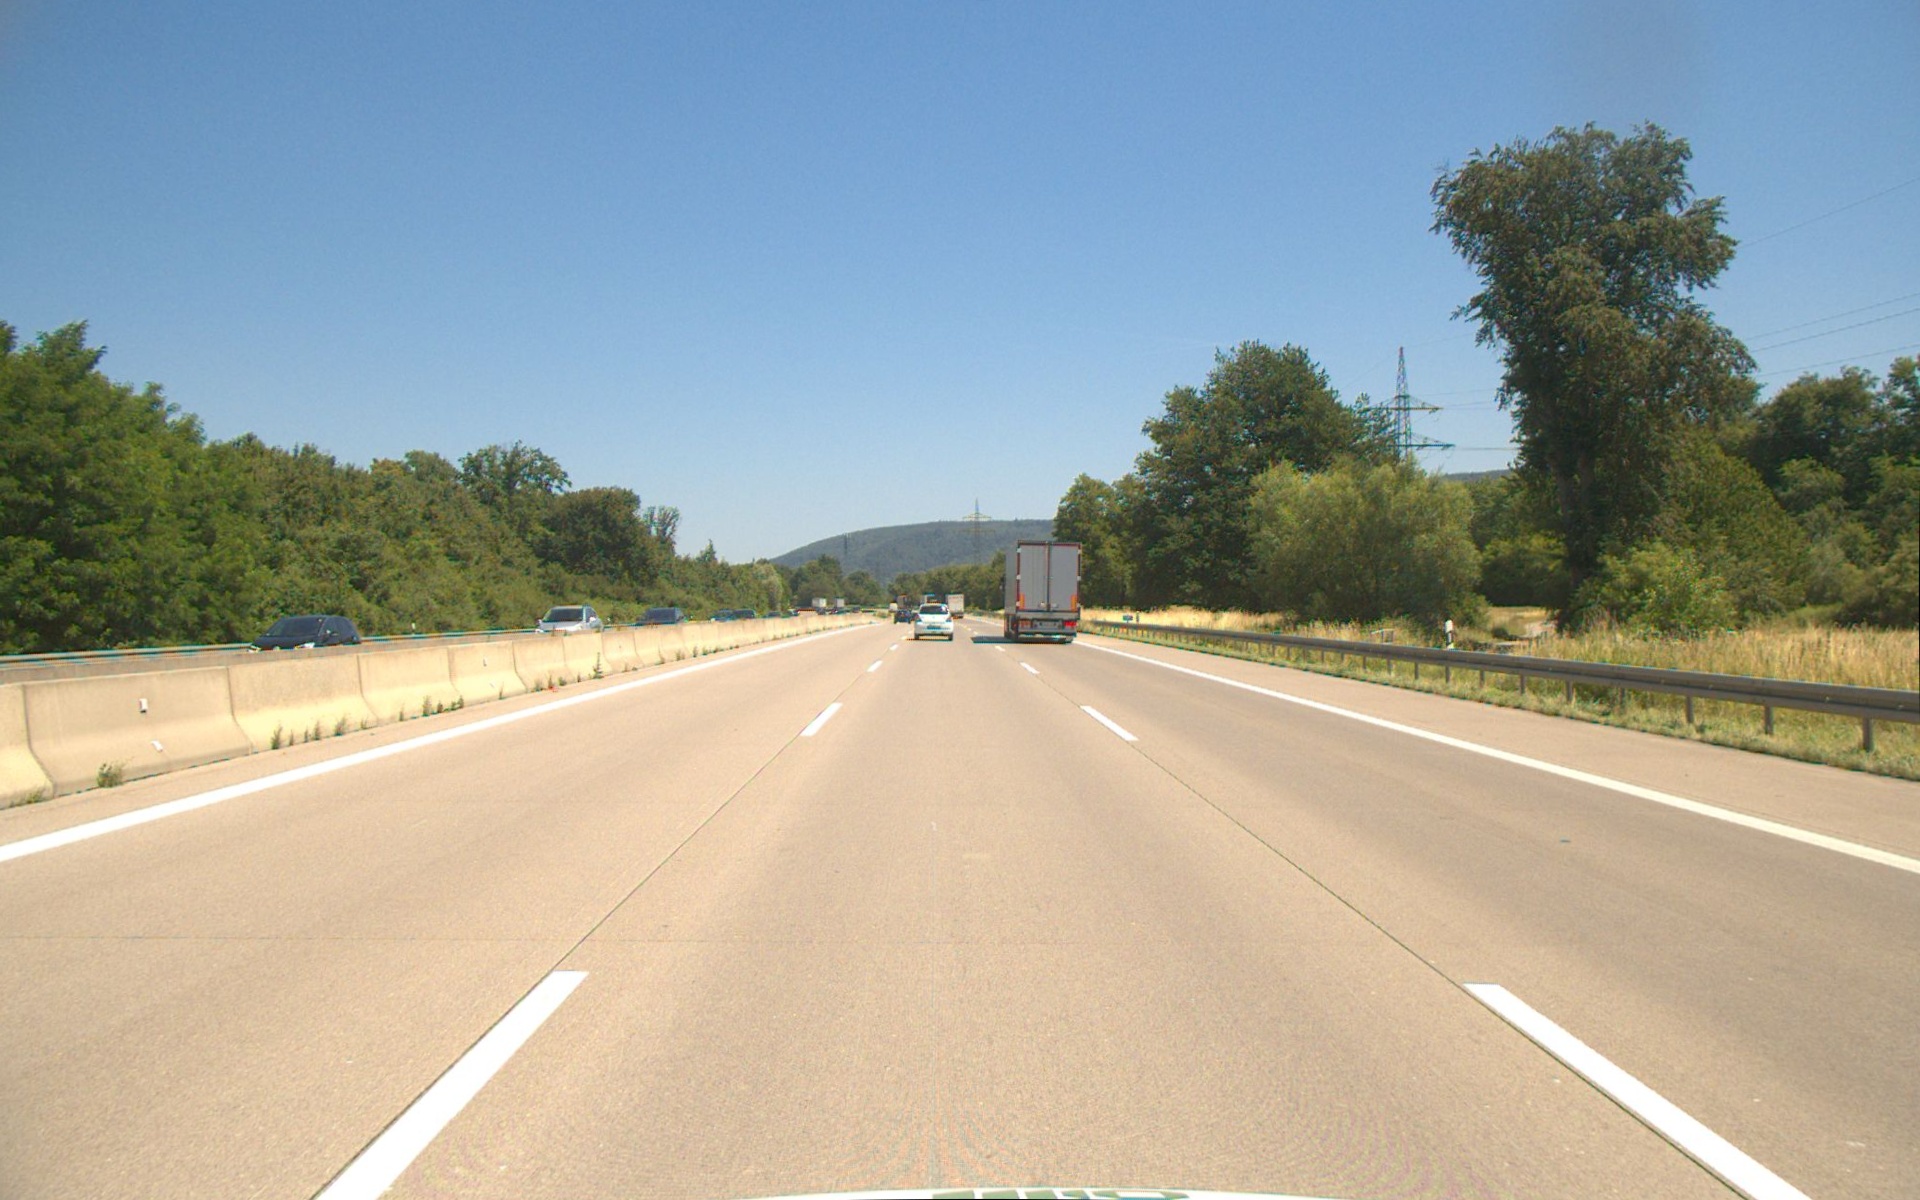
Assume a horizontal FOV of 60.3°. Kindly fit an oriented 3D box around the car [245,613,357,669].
[{"bbox_3d":[-17.067,1.046,43.011,1.534,1.342,3.631,-1,0,-2],"label":"car"}]

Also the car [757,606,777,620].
[{"bbox_3d":[-19.506,1.289,167.401,1.643,1.338,4.858,0,0,-2],"label":"car"}]

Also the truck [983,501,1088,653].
[{"bbox_3d":[3.047,-0.922,73.340,3.504,5.889,18.242,0,0,-1],"label":"truck"}]

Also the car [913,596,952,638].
[{"bbox_3d":[-1.154,0.707,70.398,1.608,1.691,3.359,1,0,-1],"label":"car"}]

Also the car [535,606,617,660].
[{"bbox_3d":[-12.932,1.066,56.015,1.674,1.707,4.927,-1,0,-1],"label":"car"}]
